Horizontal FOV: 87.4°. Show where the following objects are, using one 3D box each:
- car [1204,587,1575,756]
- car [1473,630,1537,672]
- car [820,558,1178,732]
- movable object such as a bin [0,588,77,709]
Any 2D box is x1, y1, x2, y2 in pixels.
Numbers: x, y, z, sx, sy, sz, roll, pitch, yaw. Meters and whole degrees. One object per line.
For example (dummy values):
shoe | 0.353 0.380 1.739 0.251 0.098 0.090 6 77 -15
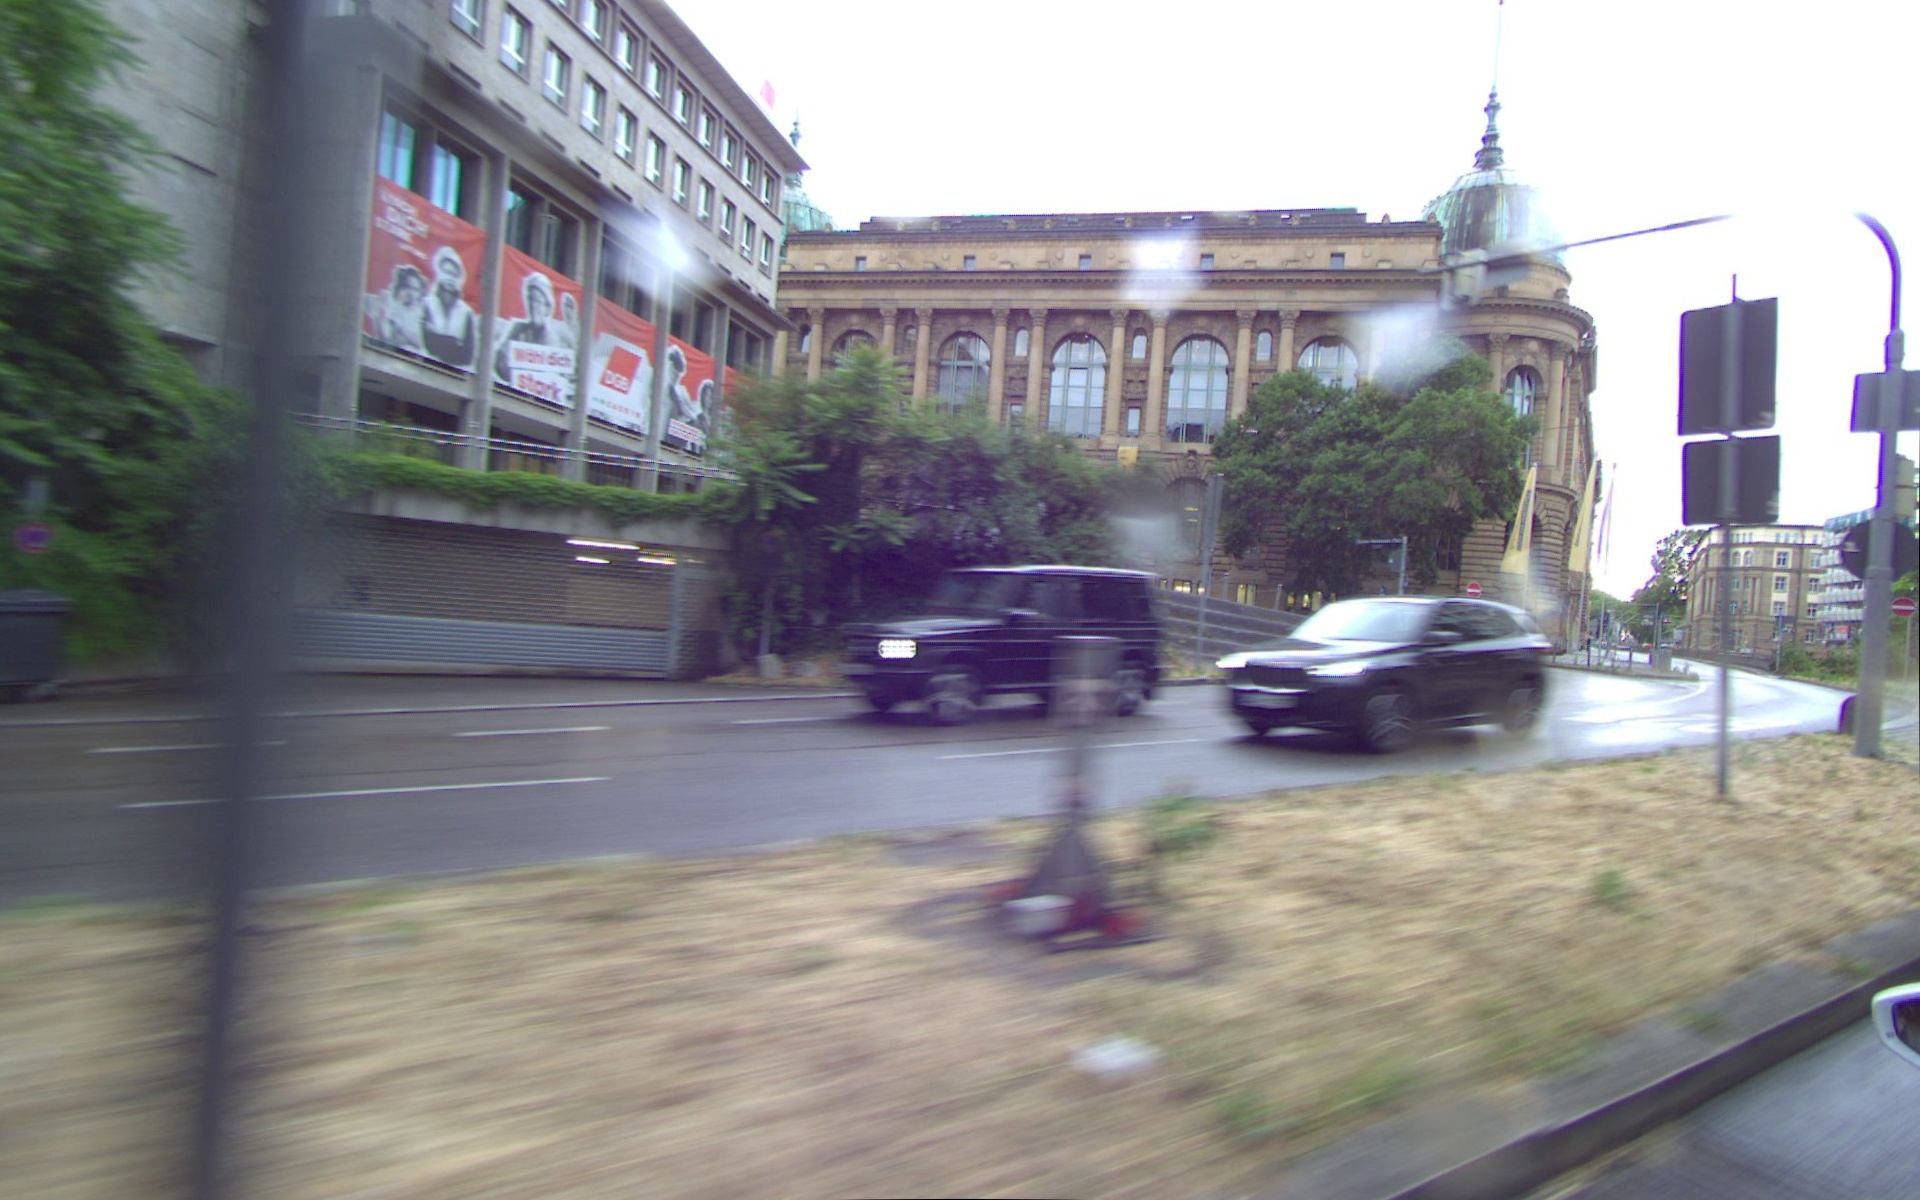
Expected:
car | 5.006 0.709 11.524 4.342 1.609 1.834 1 0 -33
car | 22.624 2.106 41.831 1.962 1.513 4.839 3 -1 25
car | 0.618 0.541 13.330 4.595 1.947 1.825 1 0 -35
movable object such as a bin | -12.328 0.589 12.733 1.271 1.469 1.207 3 0 22
